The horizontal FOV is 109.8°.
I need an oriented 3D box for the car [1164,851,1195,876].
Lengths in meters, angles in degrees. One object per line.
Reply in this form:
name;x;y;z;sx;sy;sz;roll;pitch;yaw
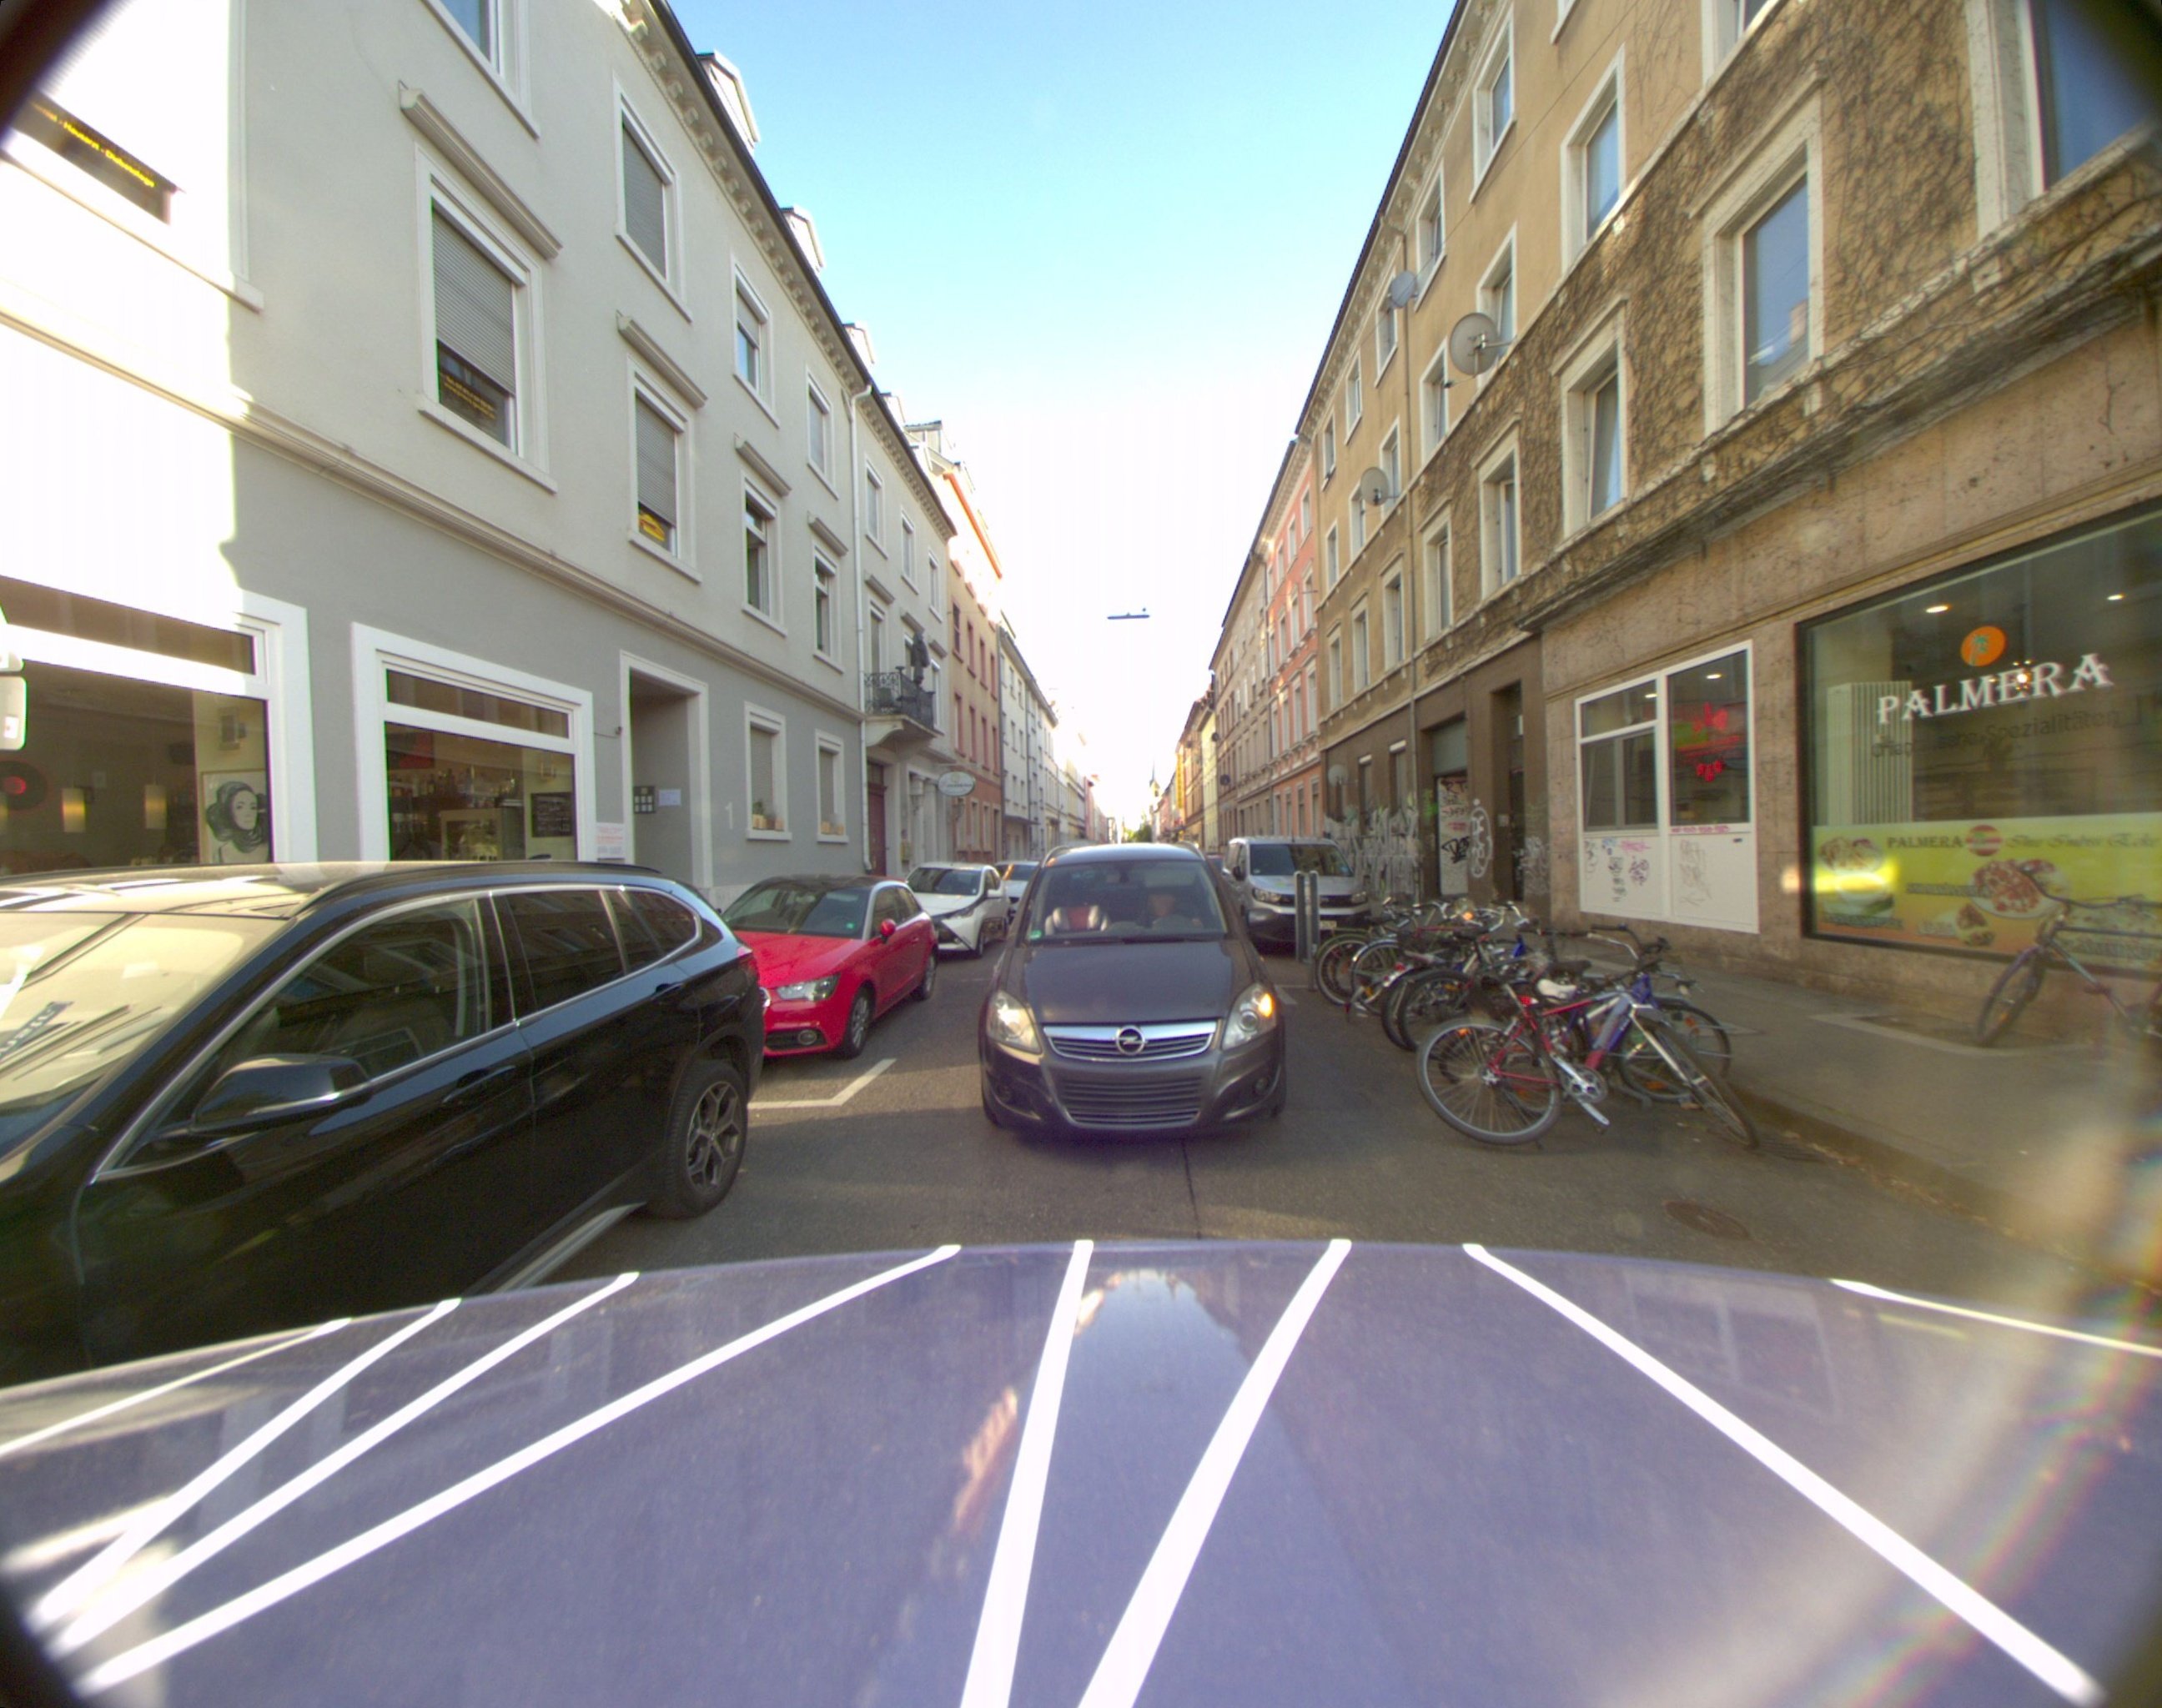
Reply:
car;6.128;0.581;47.548;1.683;1.454;3.861;-2;0;4

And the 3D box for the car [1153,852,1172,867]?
car;8.063;0.494;75.348;1.683;1.381;3.861;-2;0;4

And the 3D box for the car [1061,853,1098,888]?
car;-0.024;0.784;38.171;1.683;1.550;3.860;-3;0;1

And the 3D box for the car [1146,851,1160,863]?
car;9.030;0.337;95.708;1.683;1.381;3.861;-2;0;4

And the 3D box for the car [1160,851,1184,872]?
car;6.948;0.548;58.343;1.683;1.448;3.861;-2;0;4

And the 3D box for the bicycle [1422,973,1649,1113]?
bicycle;2.982;1.224;5.020;1.312;0.813;0.381;0;0;-6

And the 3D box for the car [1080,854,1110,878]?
car;0.972;0.772;49.878;1.683;1.434;3.861;-3;0;4

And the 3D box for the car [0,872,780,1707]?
car;-2.627;0.977;1.983;1.764;1.652;4.198;-3;0;3

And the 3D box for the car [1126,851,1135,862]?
car;10.419;0.550;159.918;1.683;2.077;4.160;-3;0;4

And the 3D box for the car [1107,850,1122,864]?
car;4.333;0.365;98.543;1.683;1.588;3.861;-3;0;4

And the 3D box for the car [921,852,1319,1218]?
car;0.336;0.866;6.188;1.798;1.652;5.185;-3;0;4

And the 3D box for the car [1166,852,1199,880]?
car;5.717;0.627;42.524;1.682;1.454;3.862;-2;0;9

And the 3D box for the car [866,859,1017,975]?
car;-2.204;0.943;13.034;1.640;1.577;3.789;-3;0;3

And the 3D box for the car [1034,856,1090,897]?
car;-0.662;0.838;29.987;1.771;1.386;4.495;-3;0;3

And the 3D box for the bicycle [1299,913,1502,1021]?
bicycle;3.082;1.090;7.403;1.769;0.956;0.405;-2;1;3

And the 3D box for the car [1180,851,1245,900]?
car;4.408;0.681;25.826;1.683;1.540;2.960;-1;0;0

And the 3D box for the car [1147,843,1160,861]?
car;9.762;-0.330;102.653;1.683;2.352;4.099;-2;0;4

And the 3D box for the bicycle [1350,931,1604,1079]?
bicycle;3.044;1.130;5.875;1.770;0.956;0.481;-2;1;-8

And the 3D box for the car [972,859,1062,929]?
car;-1.538;0.948;19.726;1.683;1.501;4.191;-3;0;3

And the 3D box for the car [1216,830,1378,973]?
car;3.331;0.633;12.594;1.683;1.899;4.520;1;1;4

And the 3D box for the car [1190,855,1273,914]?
car;4.089;0.769;21.271;1.683;1.465;4.204;0;0;3

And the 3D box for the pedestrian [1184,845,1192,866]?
pedestrian;9.963;0.138;70.521;0.626;1.820;0.595;-3;1;5

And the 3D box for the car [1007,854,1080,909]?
car;-1.161;0.850;25.505;1.682;1.588;4.192;-3;0;6

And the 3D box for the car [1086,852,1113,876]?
car;1.371;0.692;54.690;1.683;1.556;3.861;-3;0;5

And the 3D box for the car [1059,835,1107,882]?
car;0.181;0.211;44.883;2.049;2.498;6.025;-3;0;6

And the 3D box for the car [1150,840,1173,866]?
car;8.598;-0.136;81.363;2.093;2.576;5.844;-2;0;3

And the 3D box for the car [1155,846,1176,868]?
car;7.791;0.274;70.073;1.751;1.880;4.773;-2;0;6

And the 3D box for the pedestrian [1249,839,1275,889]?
pedestrian;6.795;0.375;28.505;0.790;1.820;0.594;-3;1;4

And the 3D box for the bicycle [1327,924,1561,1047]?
bicycle;3.082;1.118;6.536;1.769;0.956;0.443;-2;1;3

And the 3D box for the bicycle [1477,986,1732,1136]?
bicycle;3.229;1.260;4.717;1.391;0.813;0.361;0;0;-6

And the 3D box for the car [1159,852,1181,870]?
car;7.390;0.527;63.365;1.683;1.407;3.861;-2;0;4

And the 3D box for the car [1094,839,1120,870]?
car;2.486;0.019;71.270;2.049;2.662;6.187;-3;0;4

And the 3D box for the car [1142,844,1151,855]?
car;19.895;-1.362;231.560;2.564;3.029;7.063;-3;0;4

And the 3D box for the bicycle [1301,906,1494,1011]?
bicycle;3.230;1.065;7.836;1.769;0.983;0.463;-2;1;3

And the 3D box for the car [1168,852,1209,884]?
car;5.263;0.642;37.554;1.683;1.454;4.314;-2;0;4

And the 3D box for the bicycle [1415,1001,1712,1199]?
bicycle;2.431;1.221;3.863;1.312;0.813;0.371;-2;1;-6

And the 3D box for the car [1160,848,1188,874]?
car;6.421;0.480;52.667;1.683;1.674;3.861;-2;0;4

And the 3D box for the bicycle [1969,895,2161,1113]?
bicycle;5.913;0.822;4.131;0.398;1.086;1.591;-1;1;4

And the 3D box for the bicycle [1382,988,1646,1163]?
bicycle;2.419;1.219;4.275;1.312;0.813;0.355;-2;1;-6

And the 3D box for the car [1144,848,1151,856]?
car;17.678;-0.571;201.547;1.683;1.851;4.160;-3;0;4

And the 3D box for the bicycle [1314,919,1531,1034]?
bicycle;3.105;1.110;6.982;1.769;0.956;0.422;-2;1;3

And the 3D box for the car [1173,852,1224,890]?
car;5.007;0.700;32.771;1.683;1.483;3.612;-2;0;2

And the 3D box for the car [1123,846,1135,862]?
car;10.543;-0.043;166.736;2.436;3.404;5.544;-3;0;4

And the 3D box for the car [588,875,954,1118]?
car;-2.503;1.058;7.280;1.649;1.494;3.955;-3;0;3

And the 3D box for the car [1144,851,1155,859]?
car;11.529;0.162;127.817;1.683;1.381;3.861;-2;0;4

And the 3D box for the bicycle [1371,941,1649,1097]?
bicycle;3.050;1.158;5.451;1.769;0.956;0.427;-2;1;-3
